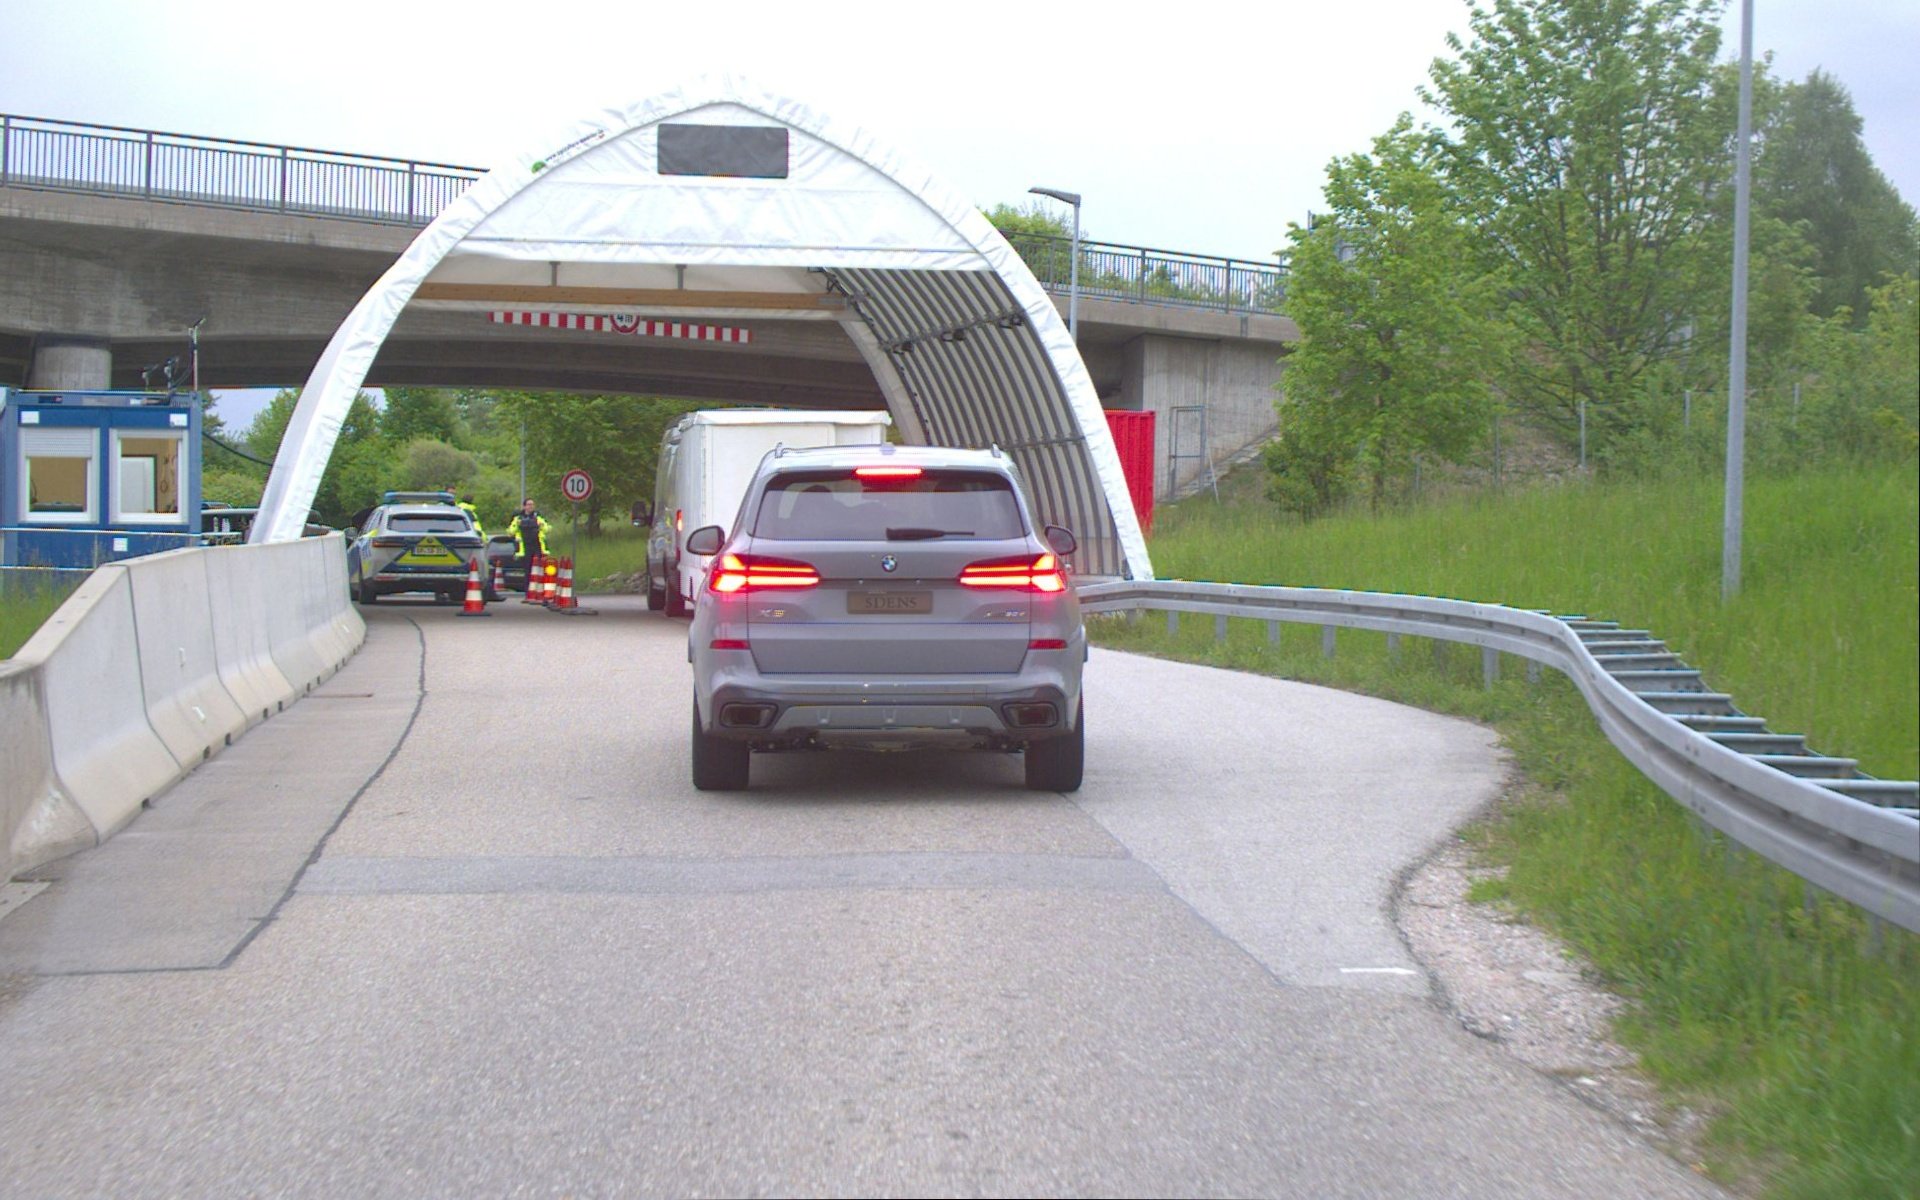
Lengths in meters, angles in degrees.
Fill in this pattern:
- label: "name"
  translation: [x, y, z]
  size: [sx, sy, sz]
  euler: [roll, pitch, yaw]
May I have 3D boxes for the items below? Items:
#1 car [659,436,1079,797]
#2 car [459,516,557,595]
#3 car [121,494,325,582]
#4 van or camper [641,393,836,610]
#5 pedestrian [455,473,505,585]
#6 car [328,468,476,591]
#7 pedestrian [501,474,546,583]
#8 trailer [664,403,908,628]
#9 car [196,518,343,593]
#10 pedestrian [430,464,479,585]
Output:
- label: "car"
  translation: [-0.365, 0.046, 18.334]
  size: [1.993, 1.713, 4.000]
  euler: [0, 1, 2]
- label: "car"
  translation: [-11.125, -1.107, 84.425]
  size: [1.703, 1.847, 4.001]
  euler: [-1, 1, -17]
- label: "car"
  translation: [-15.962, -1.353, 74.597]
  size: [3.987, 1.847, 1.709]
  euler: [-1, 1, 4]
- label: "van or camper"
  translation: [-3.088, -1.282, 46.795]
  size: [2.156, 2.754, 5.873]
  euler: [0, 0, -8]
- label: "pedestrian"
  translation: [-7.637, -1.129, 54.656]
  size: [0.720, 1.769, 0.690]
  euler: [-1, 1, -12]
- label: "car"
  translation: [-8.476, -1.072, 52.037]
  size: [1.993, 1.766, 3.767]
  euler: [-1, 1, -12]
- label: "pedestrian"
  translation: [-7.109, -1.163, 55.939]
  size: [0.648, 1.769, 0.606]
  euler: [-1, 1, -14]
- label: "trailer"
  translation: [-2.163, -0.941, 40.512]
  size: [2.278, 2.422, 6.819]
  euler: [0, 1, -8]
- label: "car"
  translation: [-13.549, -0.881, 67.384]
  size: [1.515, 1.437, 3.315]
  euler: [-1, 2, -37]
- label: "pedestrian"
  translation: [-8.184, -1.228, 55.669]
  size: [0.720, 1.939, 0.690]
  euler: [-1, 1, -12]
